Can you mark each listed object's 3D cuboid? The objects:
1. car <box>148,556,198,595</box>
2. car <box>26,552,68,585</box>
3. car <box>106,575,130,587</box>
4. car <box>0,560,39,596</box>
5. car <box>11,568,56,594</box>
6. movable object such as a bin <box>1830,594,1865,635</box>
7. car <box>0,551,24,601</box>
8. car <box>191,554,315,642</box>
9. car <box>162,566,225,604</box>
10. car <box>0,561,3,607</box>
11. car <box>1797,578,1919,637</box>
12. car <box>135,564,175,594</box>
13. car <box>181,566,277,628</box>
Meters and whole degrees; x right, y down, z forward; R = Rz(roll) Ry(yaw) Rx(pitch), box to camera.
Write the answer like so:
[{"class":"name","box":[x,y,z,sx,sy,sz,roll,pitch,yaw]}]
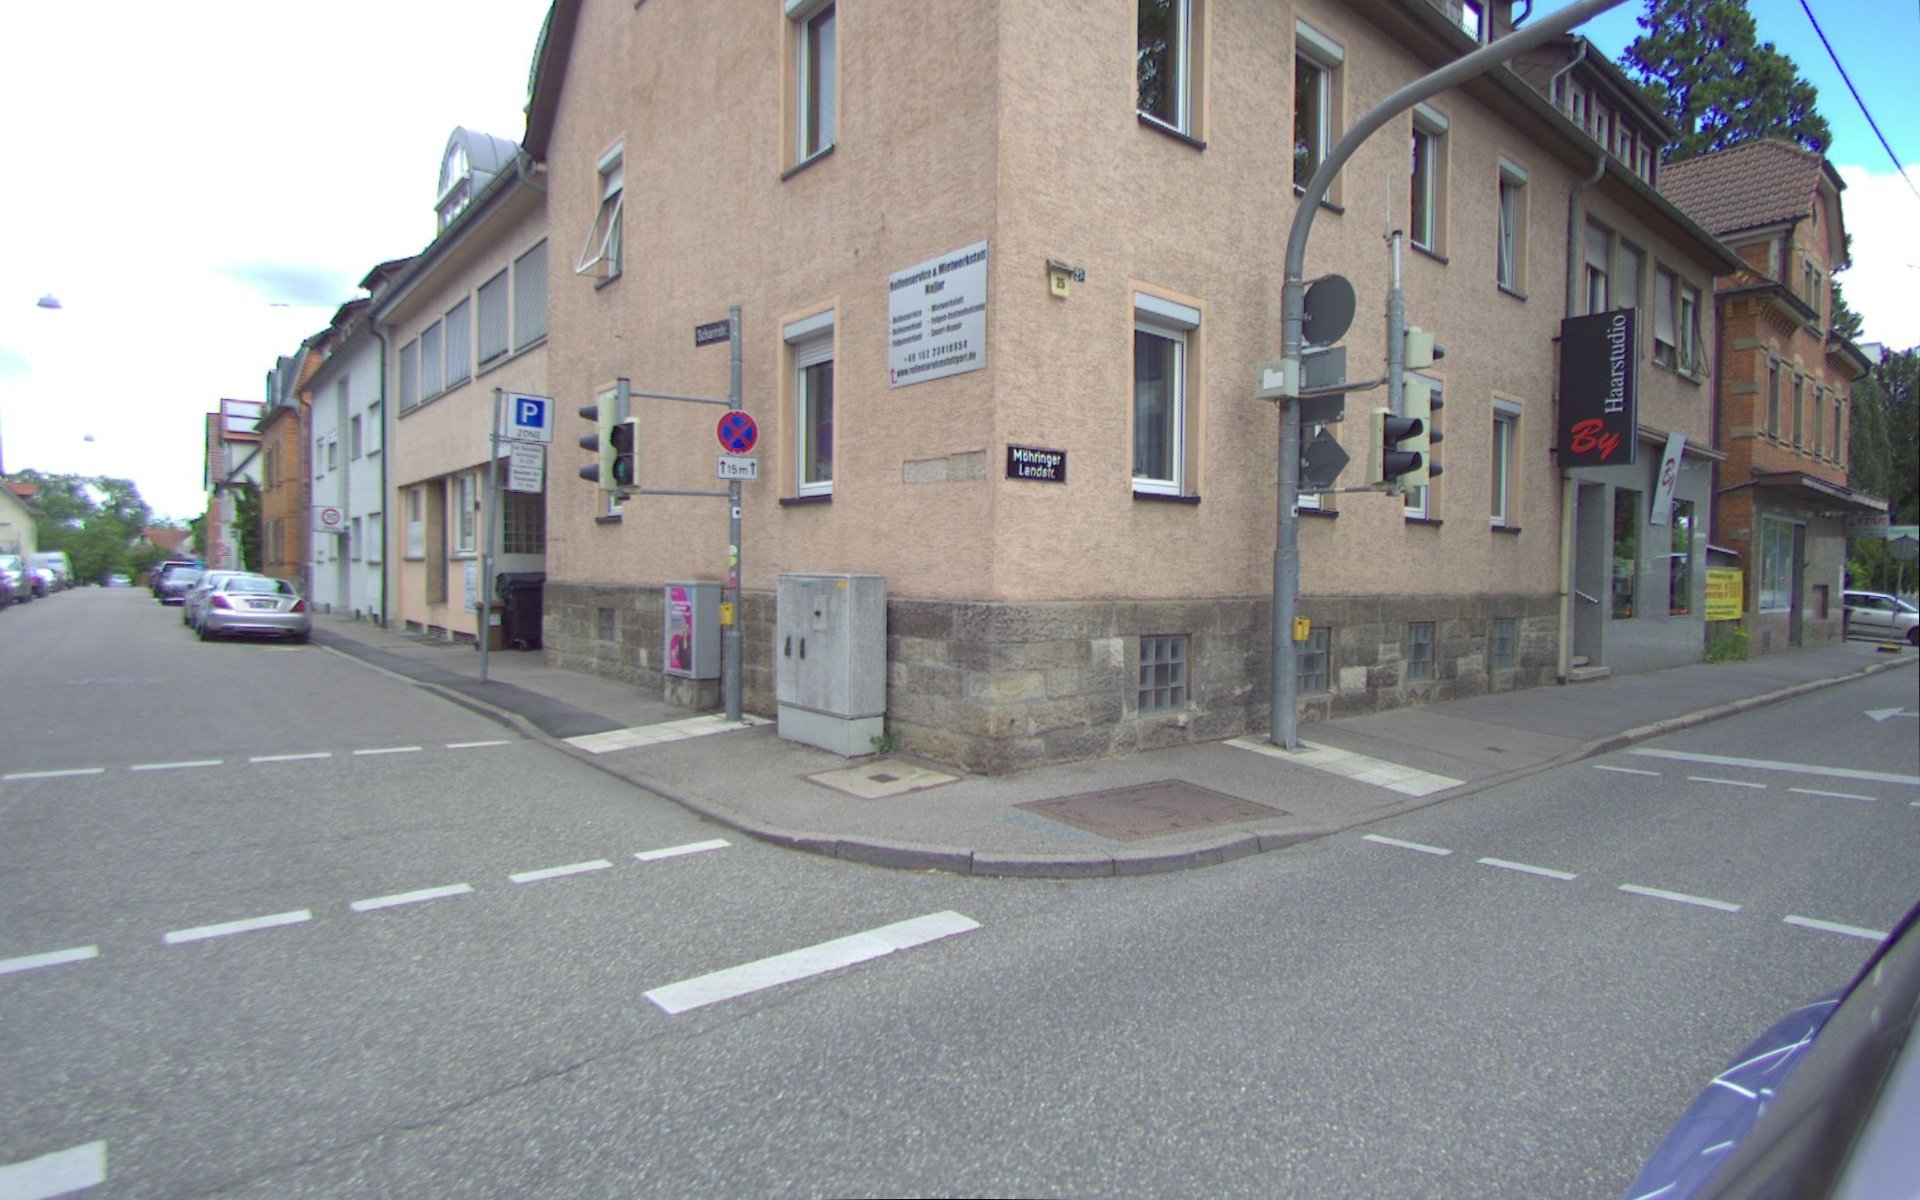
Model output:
[{"class":"car","box":[-38.945,-1.189,50.052,1.845,1.873,3.996,-1,1,-39]},{"class":"car","box":[-62.227,-2.108,68.997,1.965,2.151,3.995,-1,1,-40]},{"class":"car","box":[-82.260,-1.846,98.866,1.771,1.193,3.994,-1,1,-40]},{"class":"car","box":[-45.139,-1.039,48.040,1.965,1.639,3.994,-1,1,-41]},{"class":"car","box":[-54.275,-1.120,59.326,1.706,1.479,3.995,-1,1,-39]},{"class":"movable object such as a bin","box":[25.276,0.401,28.835,0.611,1.114,0.608,-1,3,-40]},{"class":"car","box":[-38.634,-0.937,40.203,1.965,1.906,3.994,-1,1,-41]},{"class":"car","box":[-14.674,-0.073,20.925,1.760,1.639,3.995,-1,1,-40]},{"class":"car","box":[-30.920,-0.621,40.776,1.845,1.460,3.995,-1,1,-40]},{"class":"car","box":[-31.828,-0.502,32.082,1.965,1.523,3.994,-1,1,-41]},{"class":"car","box":[28.065,0.252,30.561,1.573,1.487,4.038,-1,6,-41]},{"class":"car","box":[-45.355,-1.178,57.010,1.690,1.660,3.996,-1,1,-39]},{"class":"car","box":[-17.724,-0.102,24.472,1.696,1.386,3.996,-1,1,-39]}]
